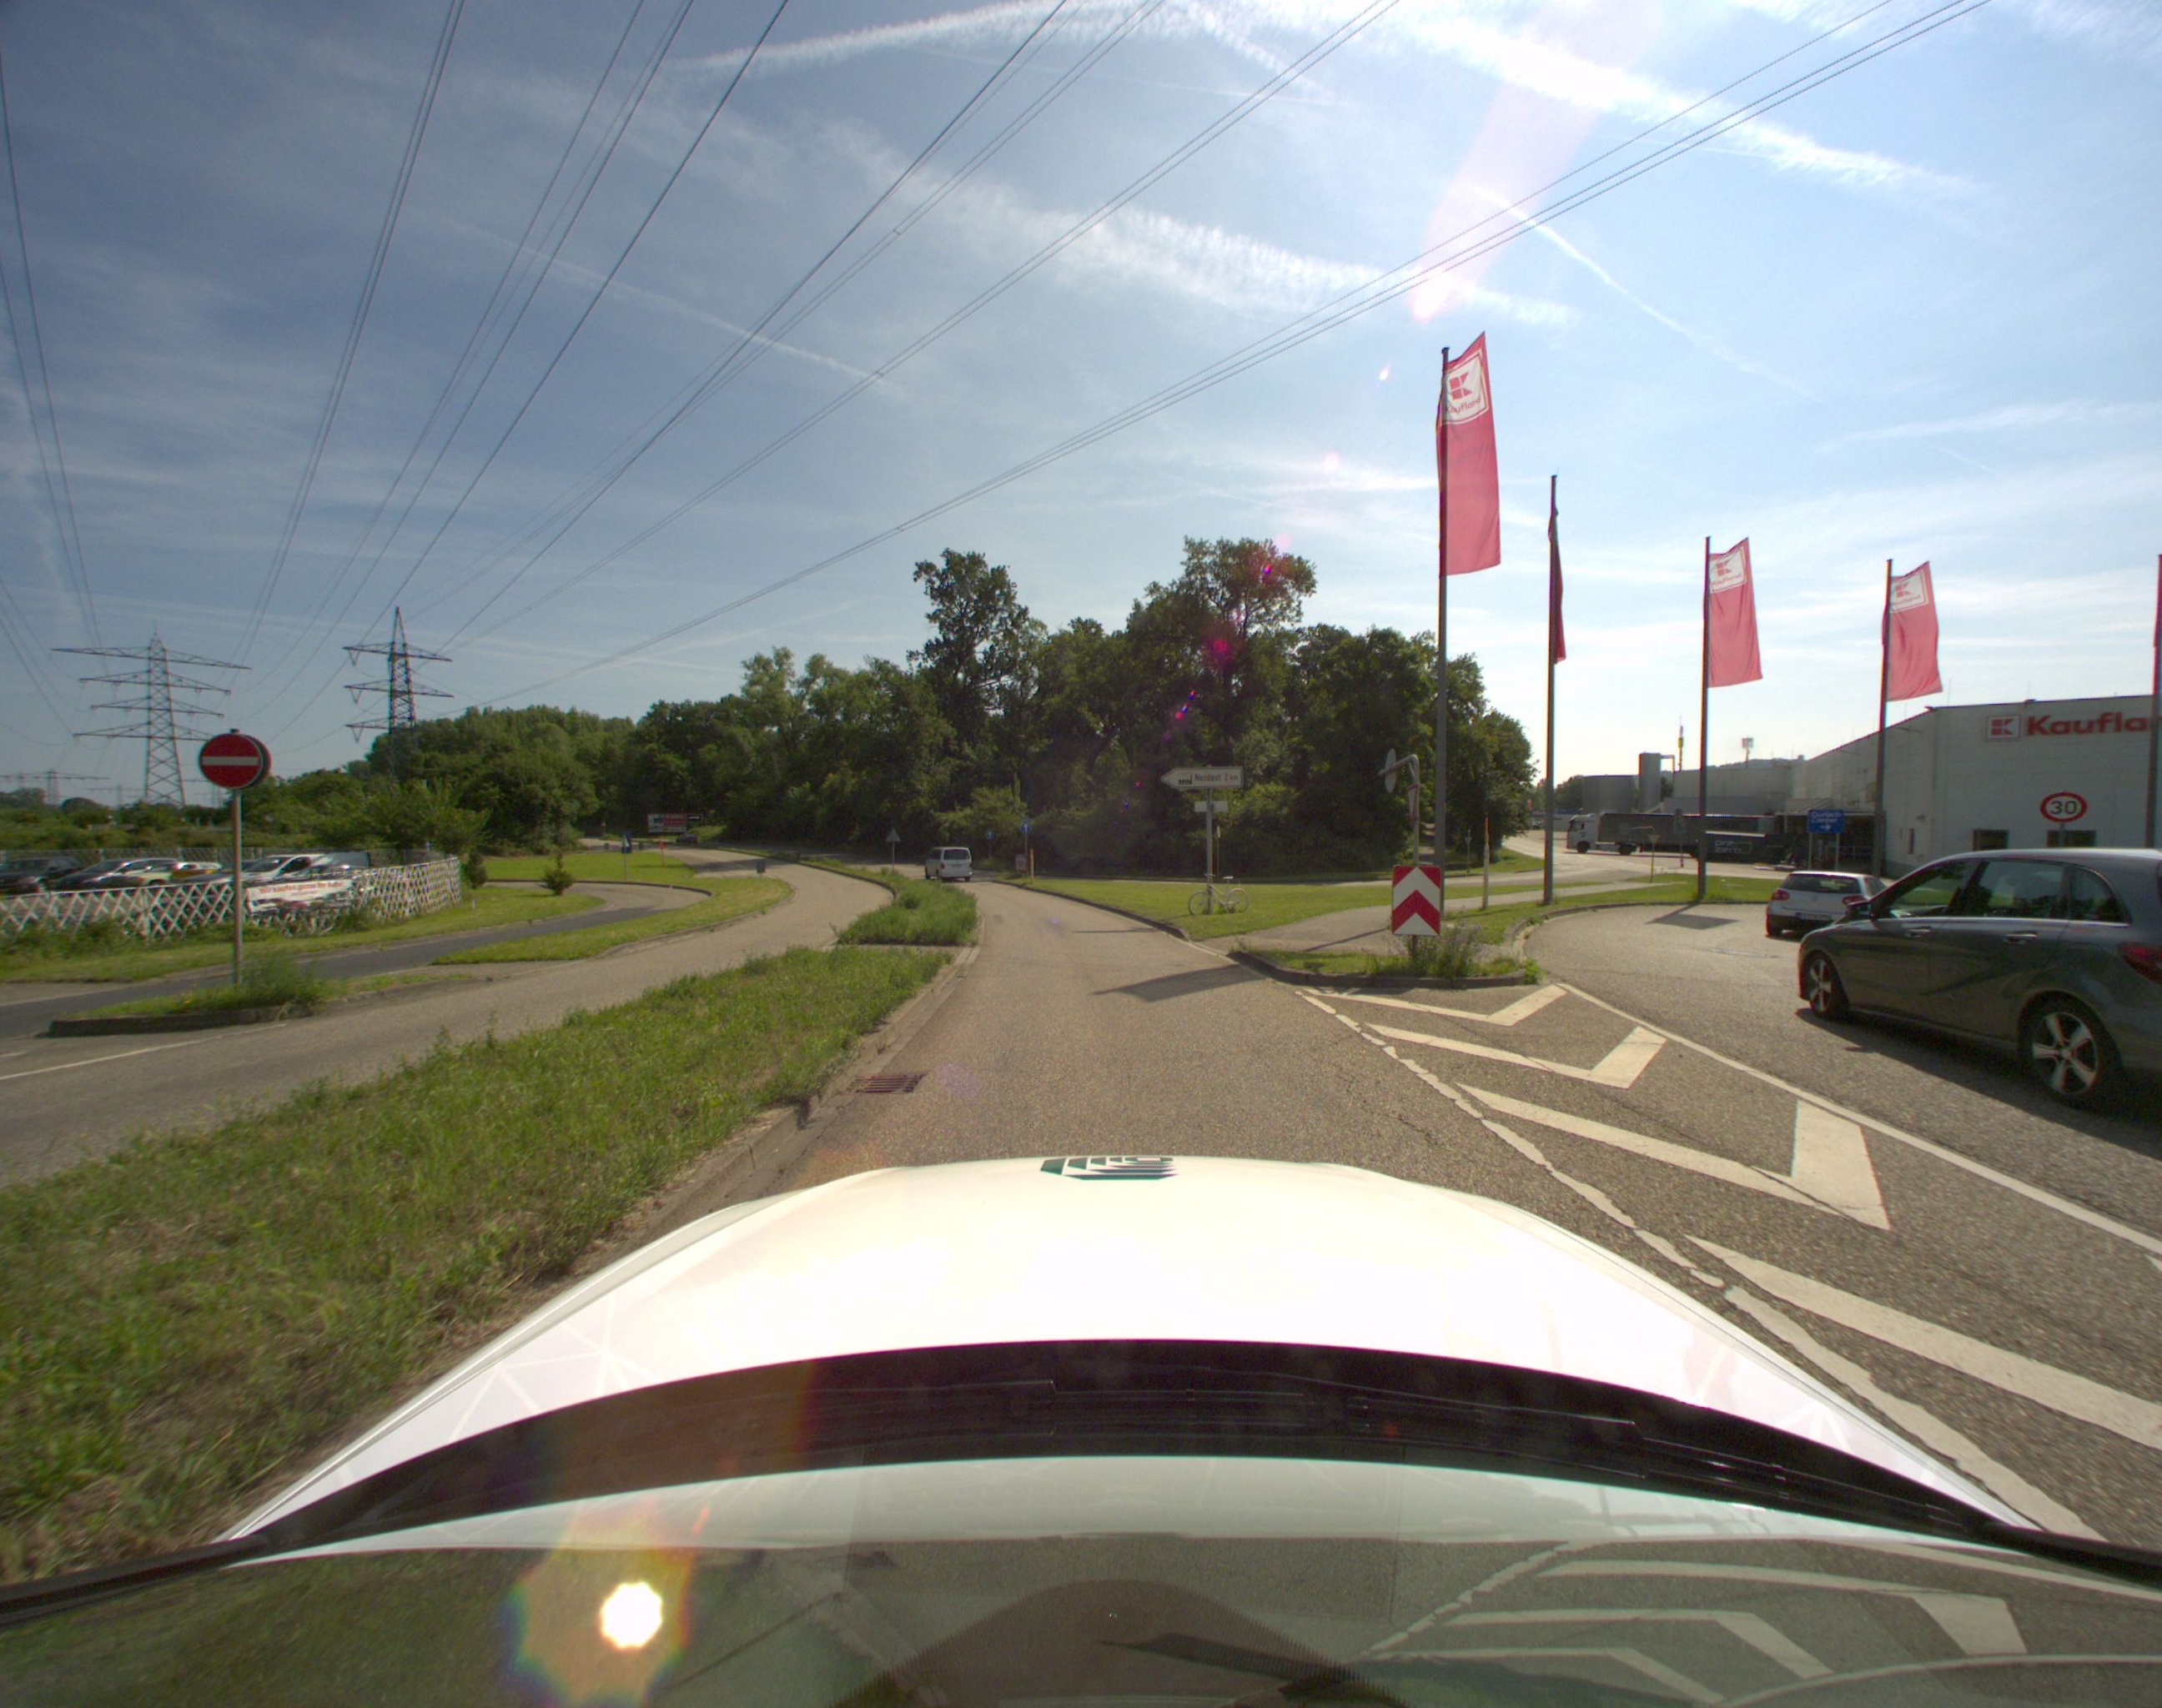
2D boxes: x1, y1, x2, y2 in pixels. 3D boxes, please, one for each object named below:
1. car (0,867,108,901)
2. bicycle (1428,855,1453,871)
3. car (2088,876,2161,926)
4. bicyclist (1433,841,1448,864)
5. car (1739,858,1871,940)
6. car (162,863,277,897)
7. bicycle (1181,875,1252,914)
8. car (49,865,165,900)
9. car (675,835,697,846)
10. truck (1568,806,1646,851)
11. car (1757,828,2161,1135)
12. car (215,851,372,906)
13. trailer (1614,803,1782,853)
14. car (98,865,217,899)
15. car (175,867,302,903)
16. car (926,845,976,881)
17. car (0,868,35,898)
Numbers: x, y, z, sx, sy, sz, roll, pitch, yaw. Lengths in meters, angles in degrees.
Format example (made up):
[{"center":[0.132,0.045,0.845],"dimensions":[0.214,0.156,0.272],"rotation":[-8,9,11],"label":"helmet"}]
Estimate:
[{"center":[-48.010,1.369,37.795],"dimensions":[1.593,1.293,3.631],"rotation":[-1,3,-9],"label":"car"},{"center":[24.242,0.595,55.008],"dimensions":[0.721,0.977,2.187],"rotation":[-1,3,0],"label":"bicycle"},{"center":[32.705,1.395,24.036],"dimensions":[3.714,1.331,1.780],"rotation":[1,1,2],"label":"car"},{"center":[24.234,-0.097,54.941],"dimensions":[0.673,1.533,0.846],"rotation":[-1,2,-1],"label":"bicyclist"},{"center":[16.474,0.954,18.461],"dimensions":[4.167,1.529,1.840],"rotation":[2,2,-44],"label":"car"},{"center":[-41.052,1.210,38.937],"dimensions":[1.589,1.293,3.641],"rotation":[-1,3,-1],"label":"car"},{"center":[3.351,0.998,20.102],"dimensions":[1.788,0.889,0.270],"rotation":[-1,0,-18],"label":"bicycle"},{"center":[-45.811,1.307,38.424],"dimensions":[1.596,1.293,3.625],"rotation":[-1,3,-14],"label":"car"},{"center":[-56.884,-1.975,117.281],"dimensions":[3.611,1.566,1.663],"rotation":[1,3,42],"label":"car"},{"center":[52.840,-2.571,81.890],"dimensions":[6.482,4.415,3.781],"rotation":[1,3,33],"label":"truck"},{"center":[6.858,0.654,5.775],"dimensions":[1.841,1.529,4.164],"rotation":[1,0,19],"label":"car"},{"center":[-34.533,1.004,35.933],"dimensions":[1.679,2.040,4.754],"rotation":[0,3,13],"label":"car"},{"center":[58.648,-2.493,78.104],"dimensions":[12.552,4.415,3.781],"rotation":[1,3,33],"label":"trailer"},{"center":[-43.379,1.271,38.369],"dimensions":[1.592,1.293,3.634],"rotation":[-1,3,-6],"label":"car"},{"center":[-37.361,1.347,36.251],"dimensions":[1.586,1.293,3.648],"rotation":[-1,3,6],"label":"car"},{"center":[-7.586,0.502,47.261],"dimensions":[2.047,2.013,3.971],"rotation":[-1,0,-21],"label":"car"},{"center":[-50.831,1.435,37.298],"dimensions":[1.596,1.293,3.625],"rotation":[-1,3,-14],"label":"car"}]
